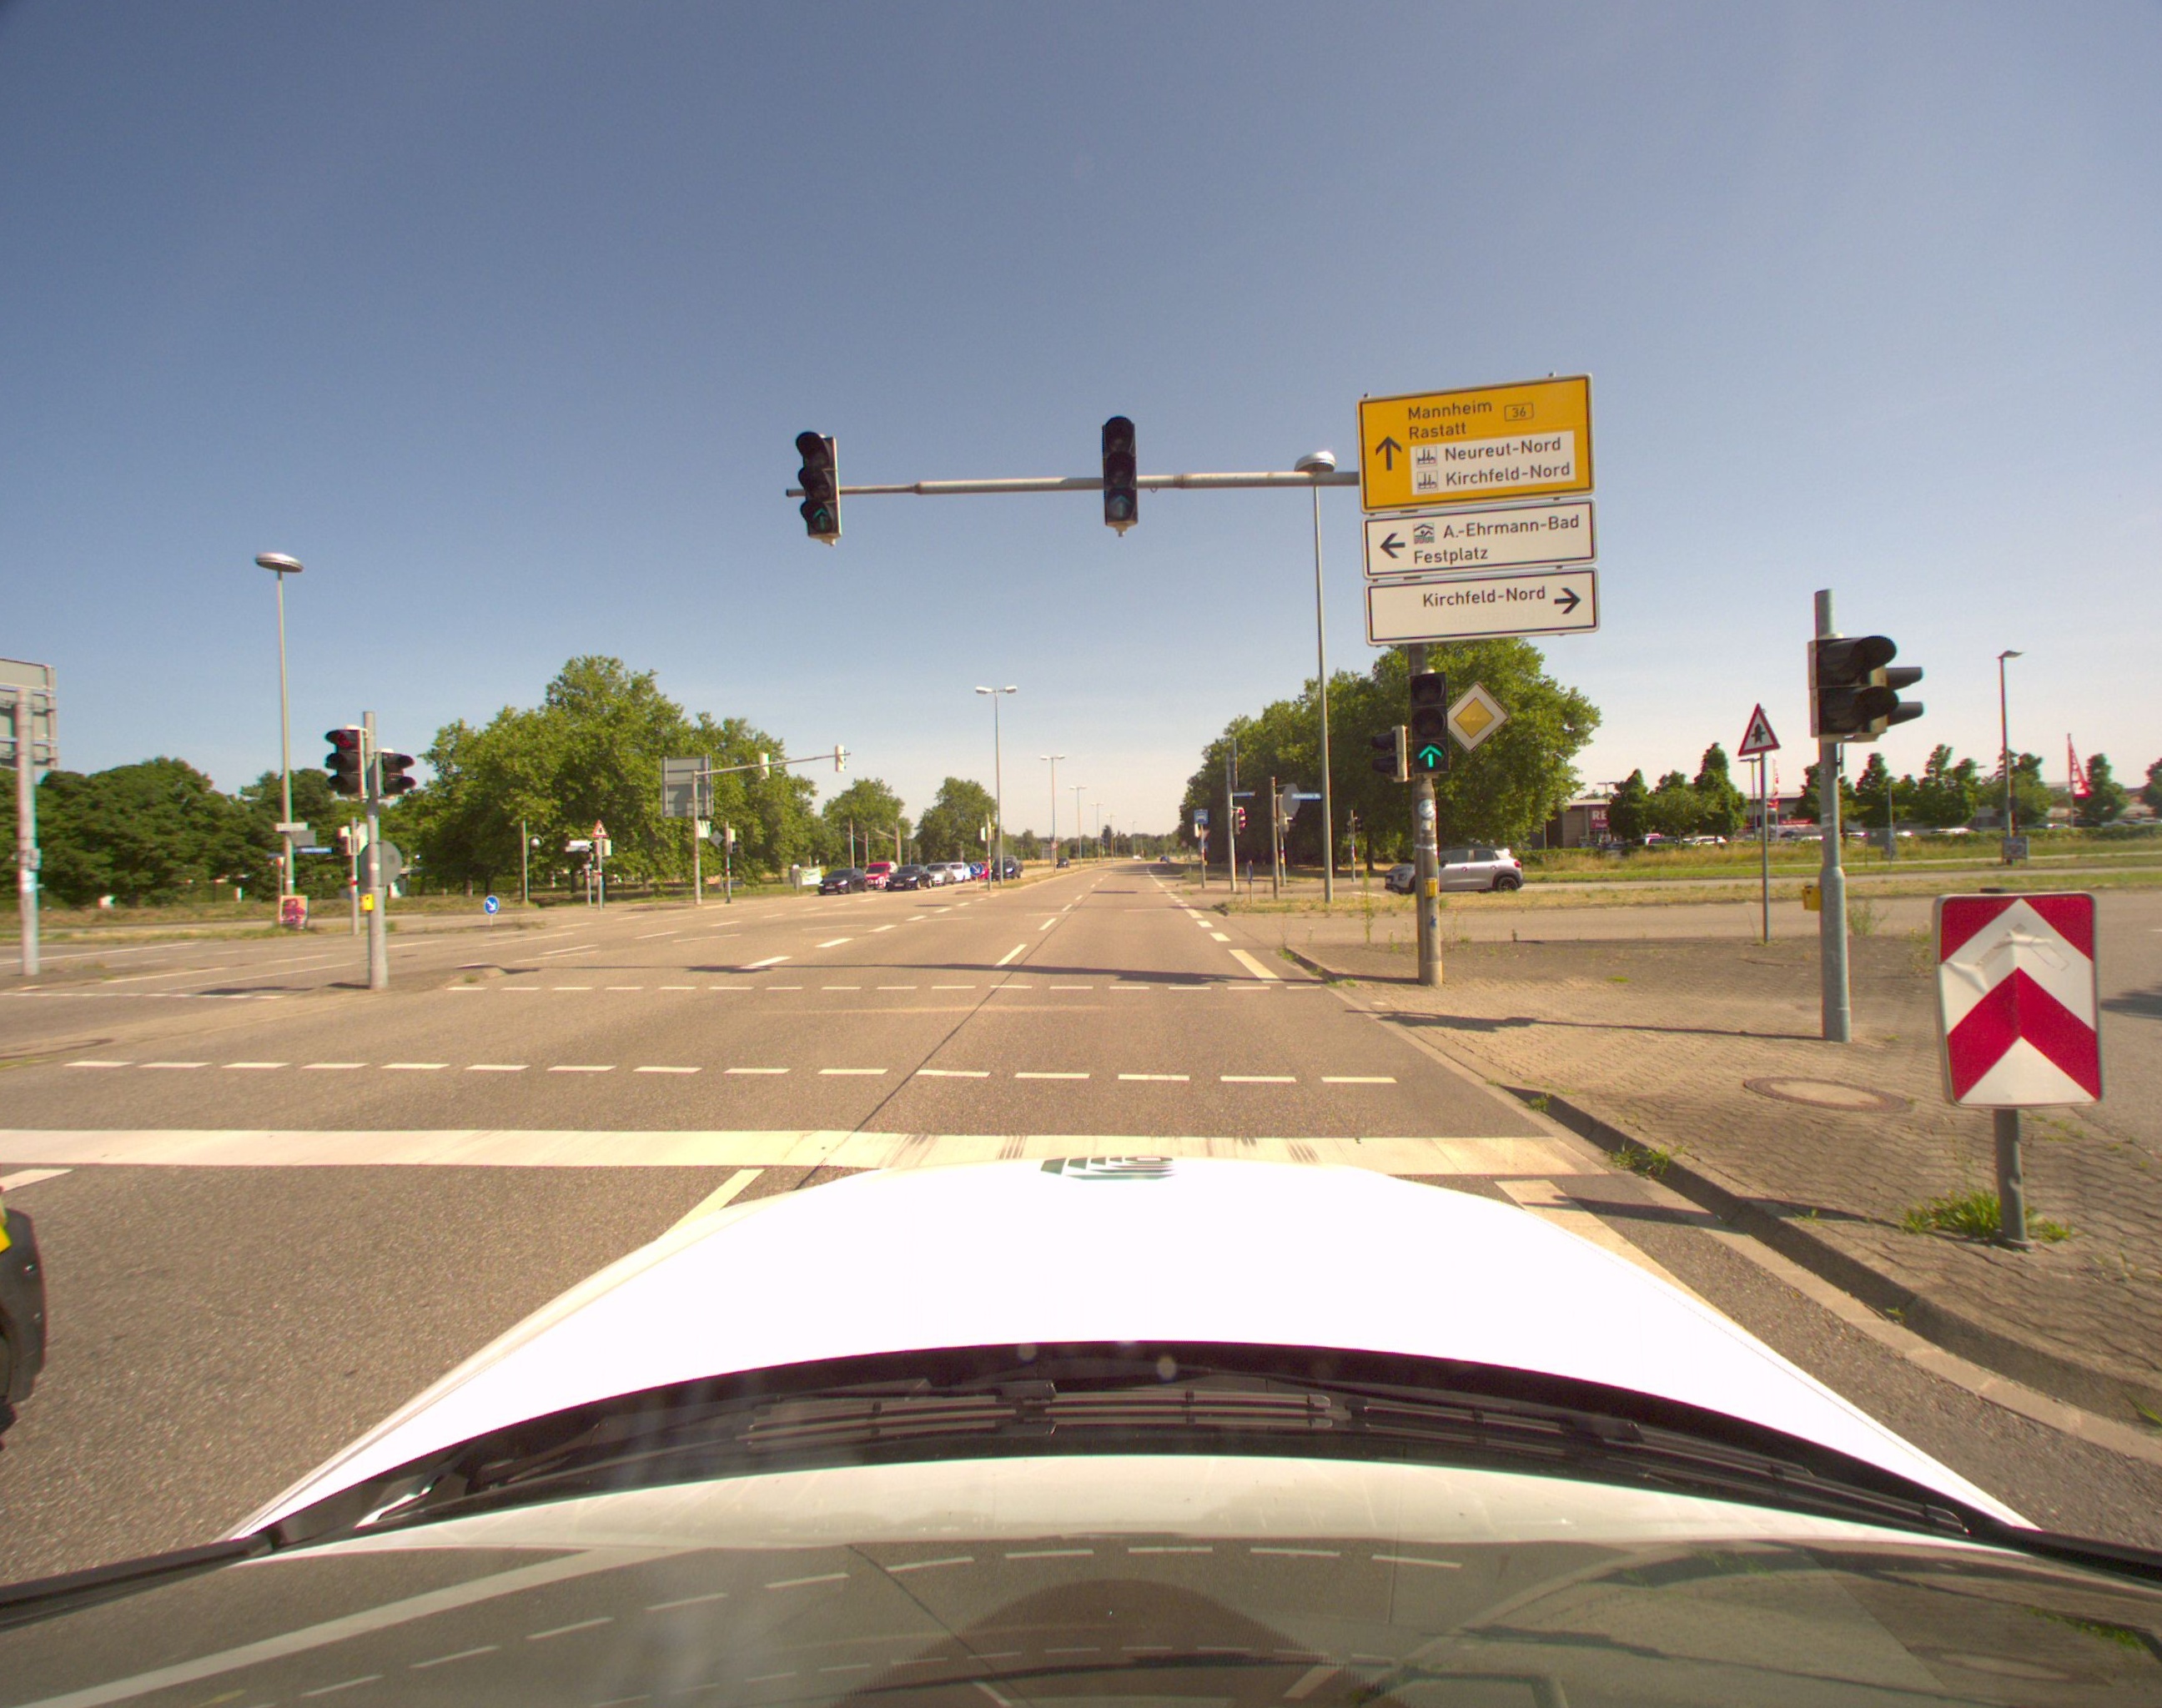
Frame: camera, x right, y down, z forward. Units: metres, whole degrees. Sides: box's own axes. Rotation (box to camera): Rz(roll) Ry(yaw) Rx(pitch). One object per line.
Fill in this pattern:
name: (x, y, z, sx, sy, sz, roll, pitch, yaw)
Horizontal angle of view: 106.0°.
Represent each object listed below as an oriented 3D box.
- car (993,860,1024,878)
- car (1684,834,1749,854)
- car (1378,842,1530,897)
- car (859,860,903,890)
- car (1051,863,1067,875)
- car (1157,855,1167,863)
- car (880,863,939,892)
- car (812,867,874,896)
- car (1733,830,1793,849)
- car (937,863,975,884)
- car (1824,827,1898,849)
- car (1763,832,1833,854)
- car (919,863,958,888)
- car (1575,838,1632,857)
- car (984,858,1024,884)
car: (-6.509, 1.313, 73.626, 1.971, 1.457, 4.457, -2, 0, 6)
car: (60.779, -0.916, 77.954, 4.467, 1.750, 1.992, -2, -1, 8)
car: (11.824, 0.482, 26.032, 4.035, 1.564, 1.744, -2, -1, 2)
car: (-12.806, 1.332, 52.384, 1.699, 1.770, 4.228, -3, 0, 0)
car: (-3.564, 2.328, 130.759, 1.972, 1.779, 4.495, -2, 0, 5)
car: (19.180, 1.216, 192.755, 1.986, 1.684, 4.001, -2, 0, 2)
car: (-9.629, 1.270, 46.057, 1.971, 1.457, 4.339, -2, 0, 6)
car: (-13.447, 1.527, 46.329, 1.876, 1.457, 4.236, -2, 0, 6)
car: (72.955, -1.534, 87.203, 4.460, 1.750, 1.995, -2, -1, 14)
car: (-9.094, 1.398, 59.572, 1.819, 1.386, 3.849, -2, 0, 6)
car: (70.939, -1.424, 74.155, 4.451, 1.750, 1.999, -2, -1, 25)
car: (61.129, -0.924, 69.505, 3.961, 1.728, 2.006, -2, 0, 11)
car: (-9.228, 1.368, 52.946, 1.612, 1.457, 3.874, -2, 0, 3)
car: (54.037, -0.655, 84.283, 4.467, 1.750, 1.992, -2, -1, 8)
car: (-5.423, 1.182, 58.005, 1.971, 1.750, 4.515, -2, 0, 6)
